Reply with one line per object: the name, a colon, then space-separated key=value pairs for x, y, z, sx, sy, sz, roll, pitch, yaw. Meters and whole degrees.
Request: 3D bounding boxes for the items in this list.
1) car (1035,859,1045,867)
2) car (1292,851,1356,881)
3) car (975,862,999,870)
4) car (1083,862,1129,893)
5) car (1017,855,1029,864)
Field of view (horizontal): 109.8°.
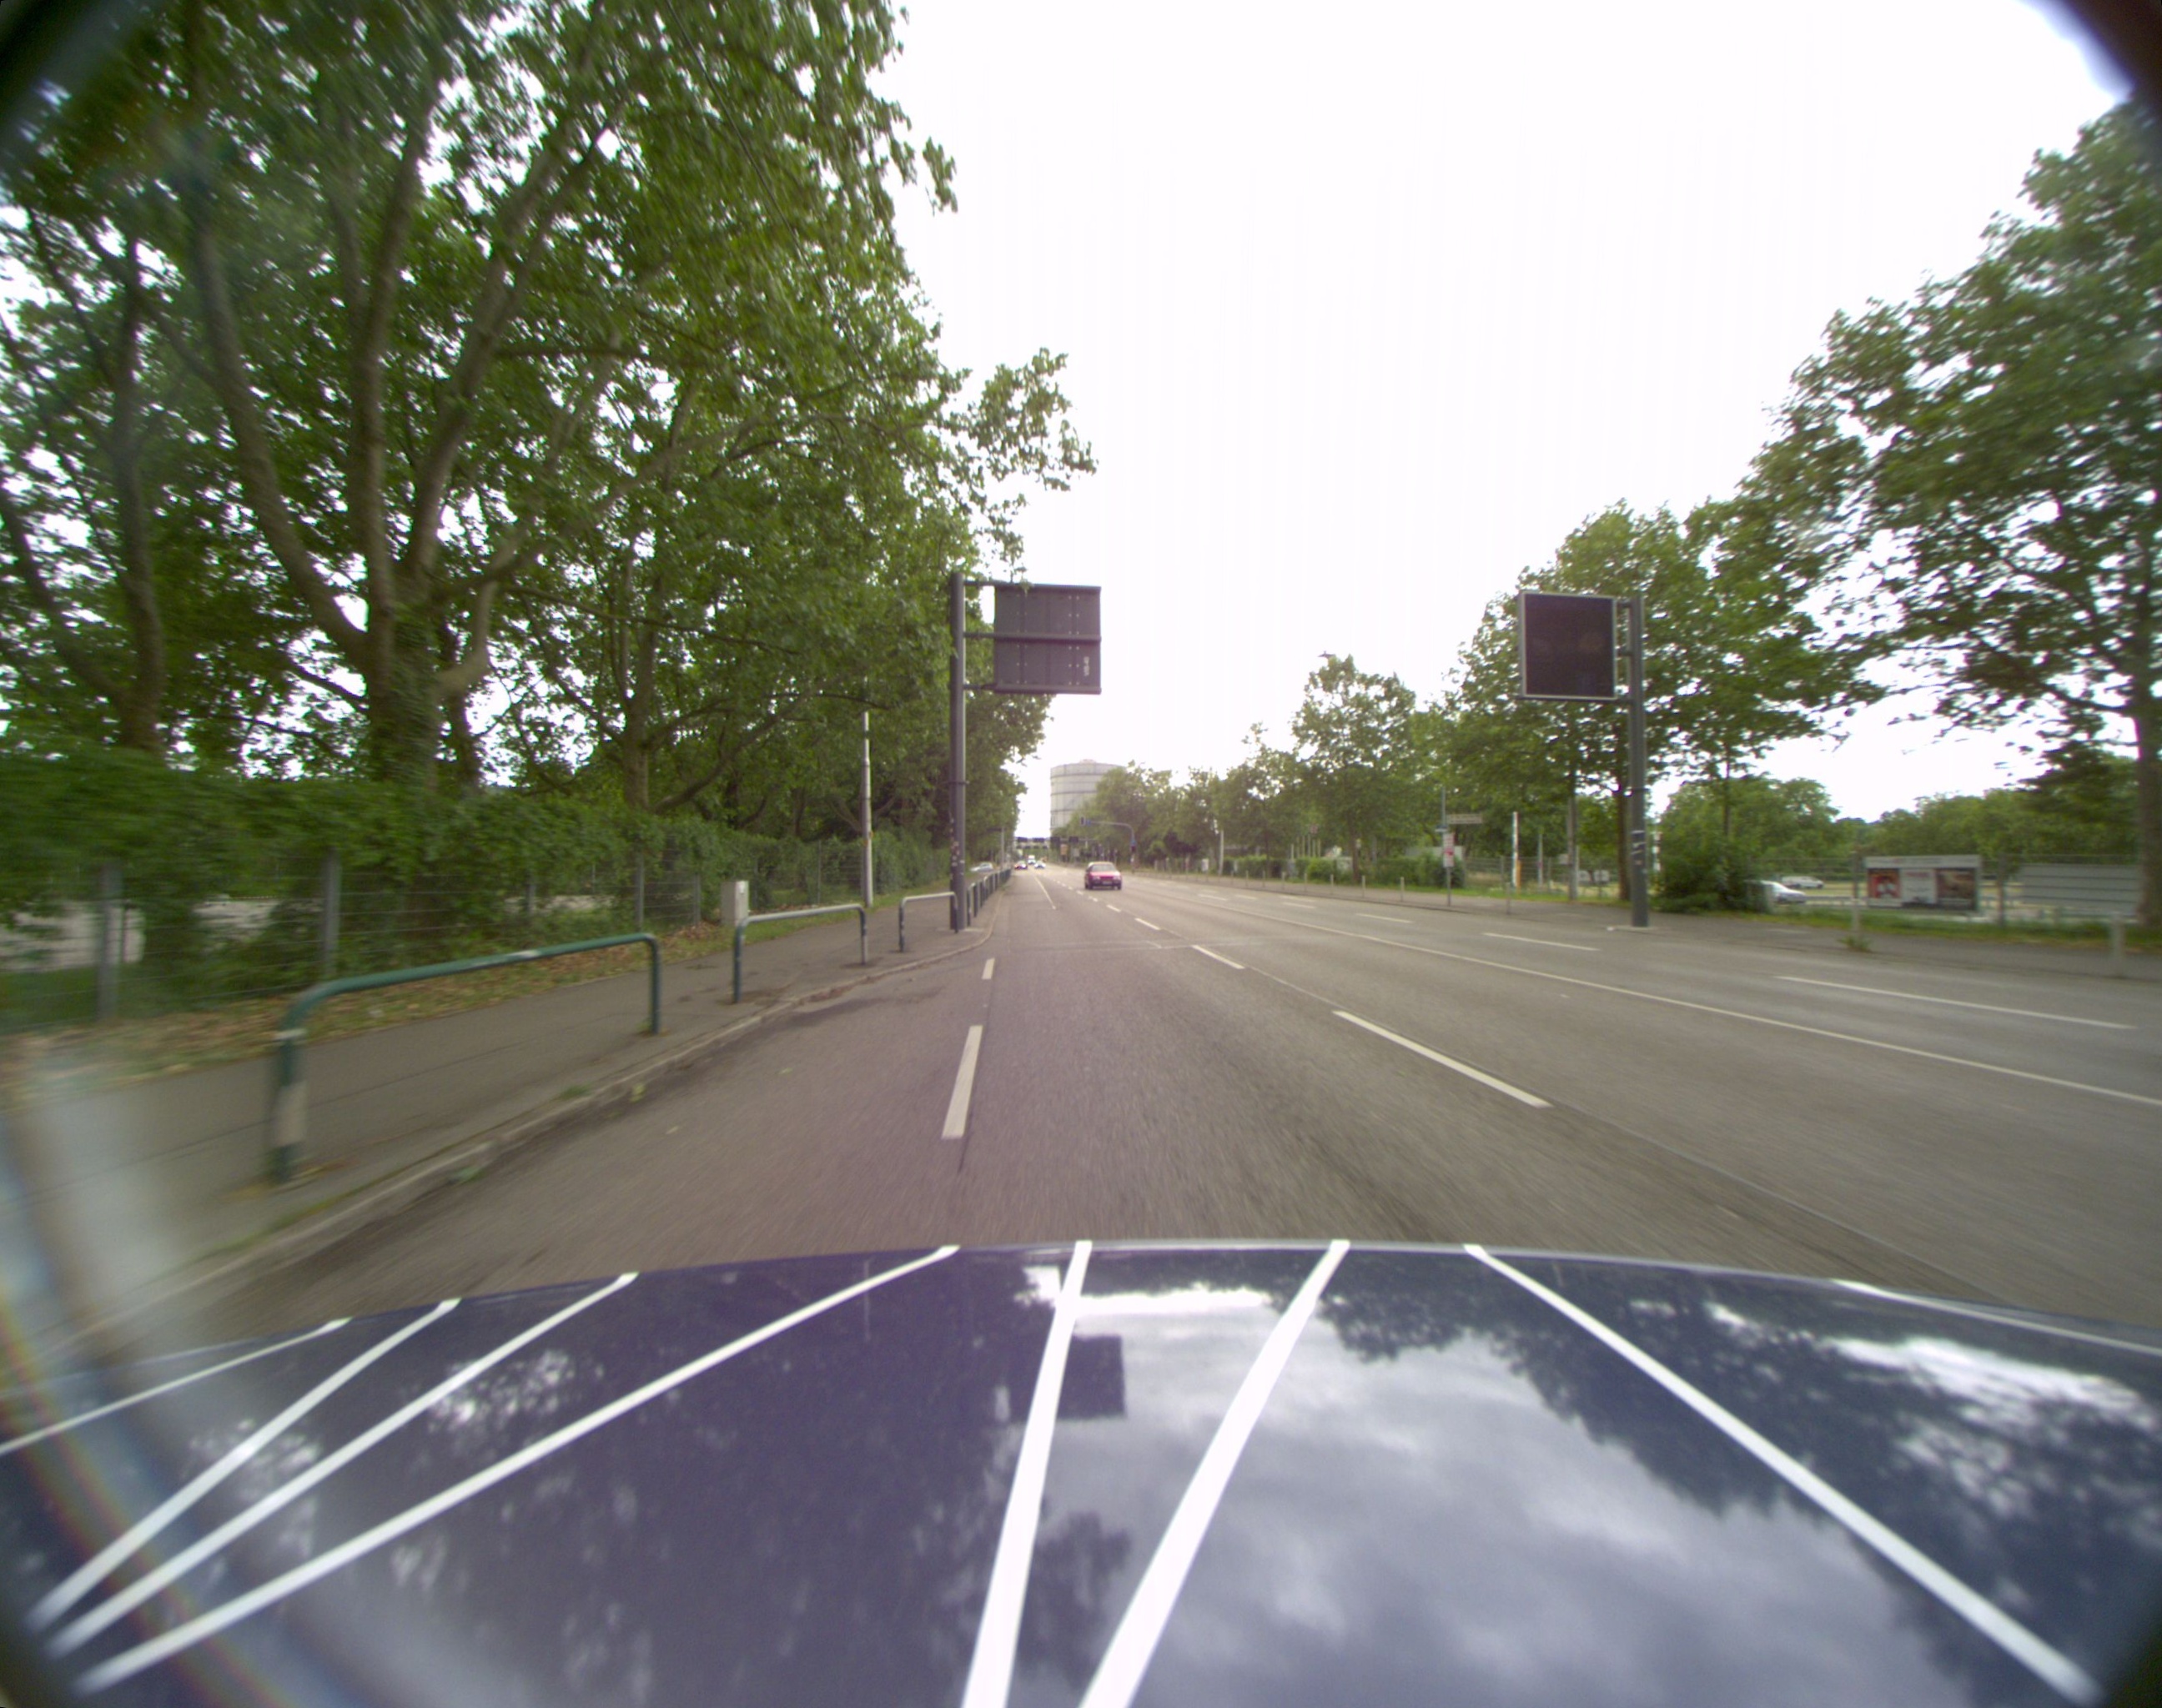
car: x=-8.186 y=1.776 z=151.558 sx=1.799 sy=1.501 sz=3.998 roll=0 pitch=0 yaw=-5
car: x=16.791 y=0.781 z=52.704 sx=2.394 sy=2.002 sz=4.632 roll=0 pitch=0 yaw=-9
car: x=-15.053 y=1.904 z=121.566 sx=1.737 sy=1.363 sz=3.880 roll=0 pitch=0 yaw=32
car: x=1.260 y=1.164 z=39.422 sx=1.834 sy=1.443 sz=4.074 roll=-1 pitch=0 yaw=-6
car: x=-10.153 y=0.939 z=133.094 sx=1.799 sy=1.501 sz=3.999 roll=-2 pitch=0 yaw=-1
